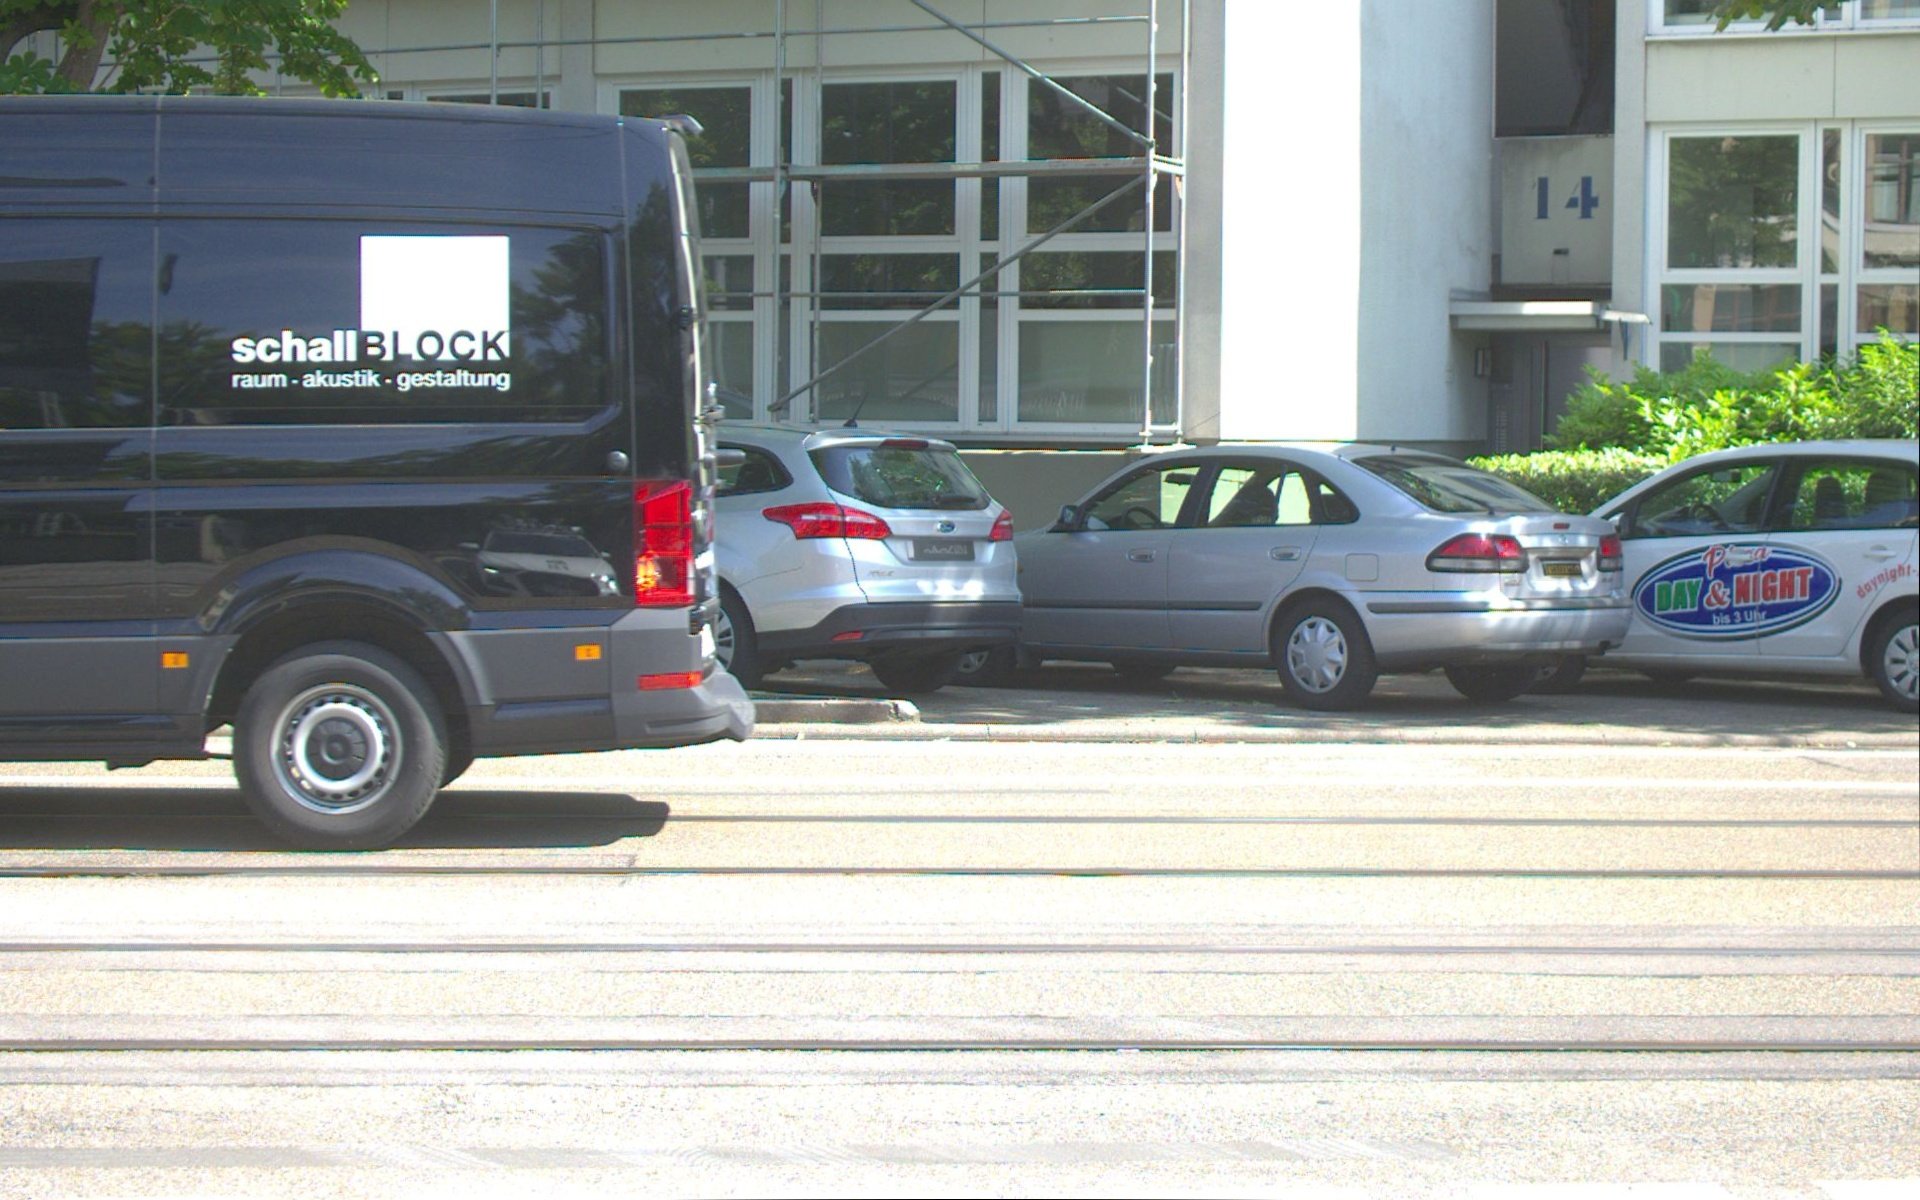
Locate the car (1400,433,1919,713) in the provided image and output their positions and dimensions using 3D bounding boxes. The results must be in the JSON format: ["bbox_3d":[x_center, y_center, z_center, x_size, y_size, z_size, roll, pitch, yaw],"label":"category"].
[{"bbox_3d":[4.601,-0.202,19.659,3.942,1.481,1.609,2,3,43],"label":"car"}]

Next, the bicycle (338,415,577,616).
[{"bbox_3d":[-3.759,-0.658,25.886,0.662,1.448,2.087,2,3,28],"label":"bicycle"}]

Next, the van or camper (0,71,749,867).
[{"bbox_3d":[-3.707,-0.490,12.339,5.842,2.610,2.051,1,3,-3],"label":"van or camper"}]

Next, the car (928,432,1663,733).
[{"bbox_3d":[1.794,-0.177,19.301,3.943,1.481,1.609,3,4,44],"label":"car"}]

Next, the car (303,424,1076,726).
[{"bbox_3d":[-1.622,-0.228,19.427,4.432,1.481,1.780,3,4,42],"label":"car"}]
